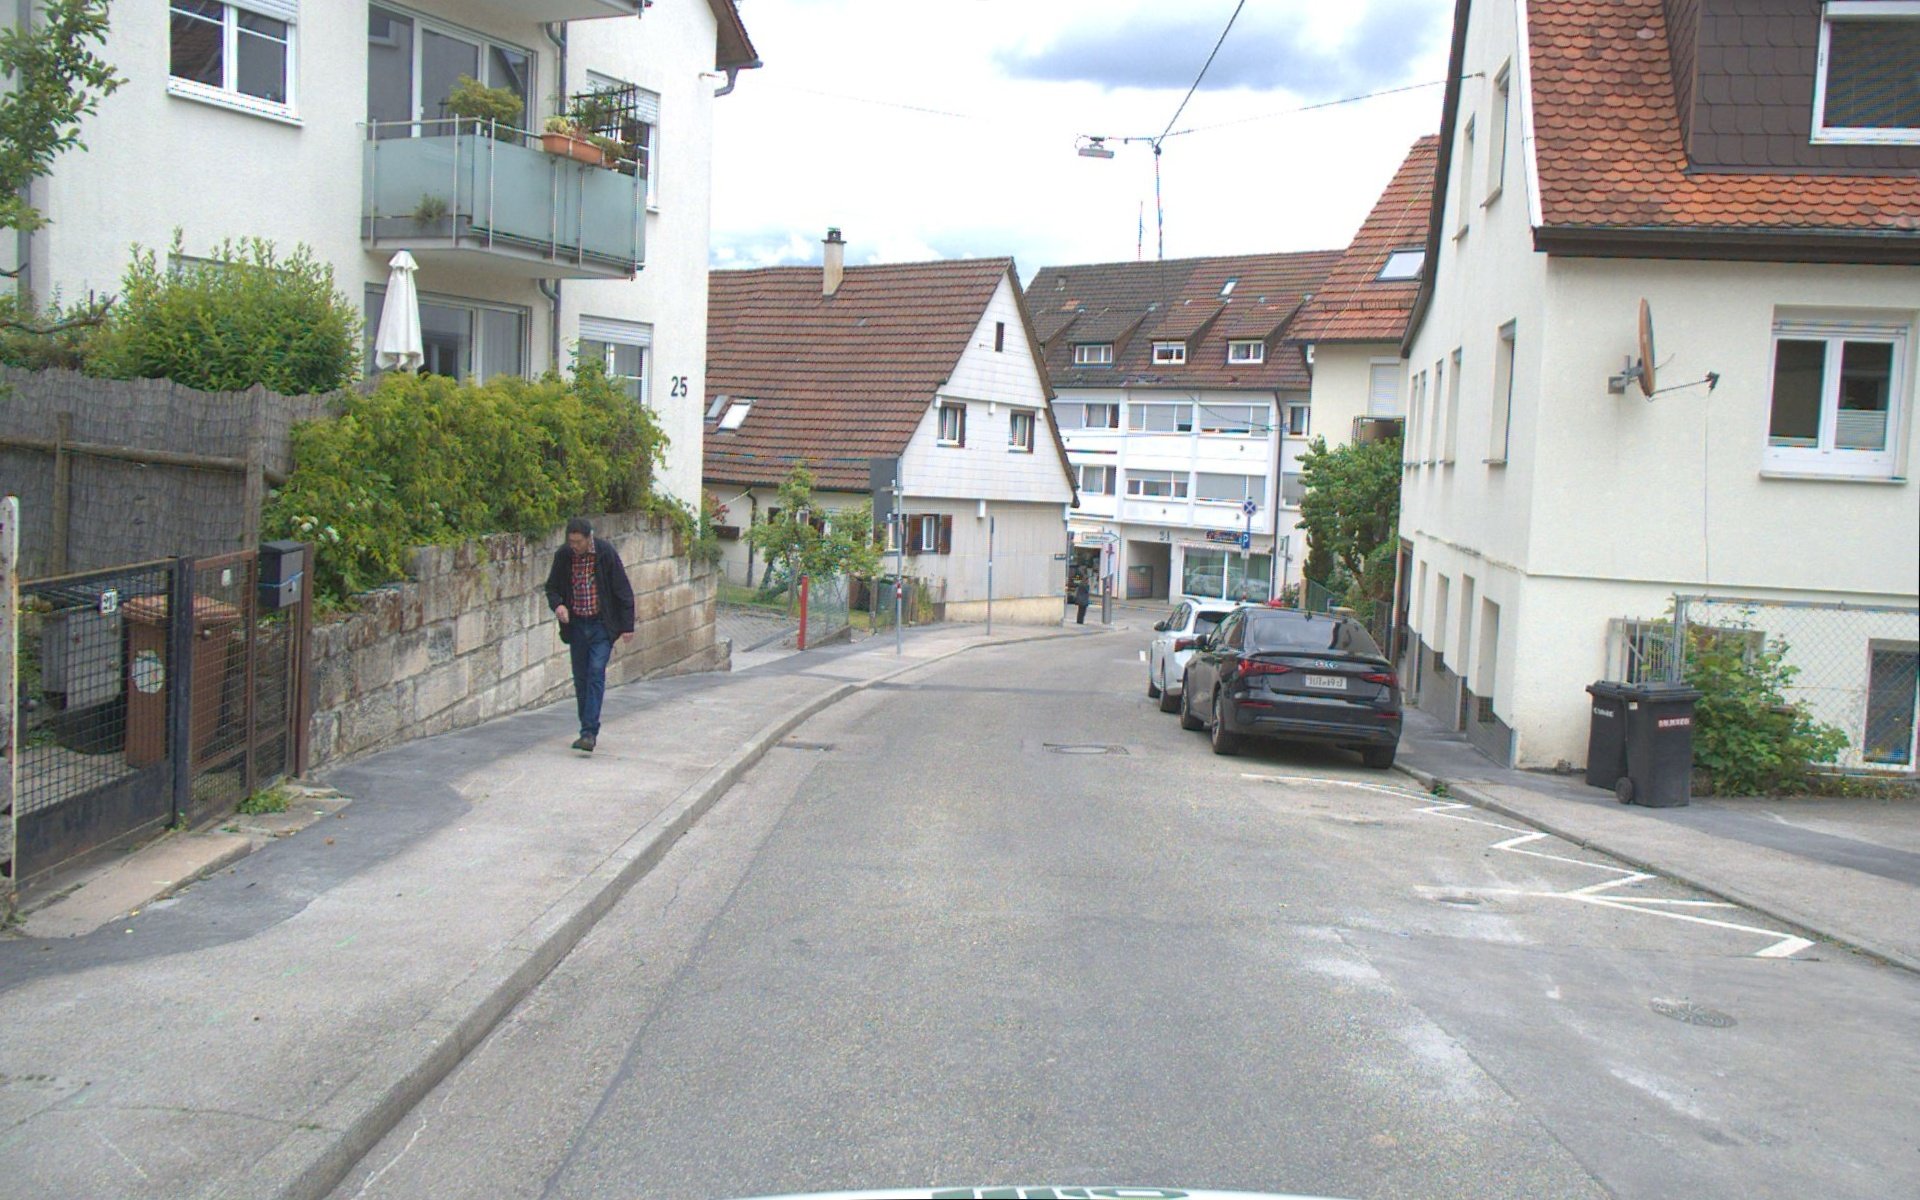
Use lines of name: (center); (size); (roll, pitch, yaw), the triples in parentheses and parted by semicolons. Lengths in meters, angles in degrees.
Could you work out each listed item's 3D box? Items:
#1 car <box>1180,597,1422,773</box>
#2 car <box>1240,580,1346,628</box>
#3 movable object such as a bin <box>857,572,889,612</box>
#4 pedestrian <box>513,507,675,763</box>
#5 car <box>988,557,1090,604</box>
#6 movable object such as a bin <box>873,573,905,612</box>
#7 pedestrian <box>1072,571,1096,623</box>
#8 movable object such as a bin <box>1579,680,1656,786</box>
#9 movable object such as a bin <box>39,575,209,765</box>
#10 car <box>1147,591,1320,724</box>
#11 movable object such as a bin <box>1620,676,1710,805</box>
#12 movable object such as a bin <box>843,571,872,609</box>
car: (3.370, 0.771, 17.054); (1.639, 1.432, 4.052); (5, 0, 1)
car: (12.793, 0.142, 63.611); (1.684, 1.583, 3.638); (1, 3, -43)
movable object such as a bin: (-2.206, -0.209, 41.838); (0.518, 0.932, 0.488); (8, 1, 35)
pedestrian: (-2.626, 0.239, 11.970); (0.823, 1.706, 0.976); (5, 0, -1)
car: (3.436, -0.857, 72.576); (1.933, 1.810, 4.299); (0, 3, -45)
movable object such as a bin: (-1.794, -0.186, 41.539); (0.518, 0.898, 0.488); (8, 1, 35)
pedestrian: (4.282, -0.108, 57.130); (0.634, 1.713, 0.603); (3, 2, -8)
movable object such as a bin: (5.834, 1.171, 14.679); (0.430, 0.881, 0.445); (1, 2, -41)
movable object such as a bin: (-4.685, 0.371, 9.274); (0.579, 0.947, 0.602); (7, 5, 29)
car: (3.577, 0.691, 22.331); (1.757, 1.470, 4.299); (5, 1, 3)
movable object such as a bin: (5.410, 1.071, 12.713); (0.454, 0.933, 0.542); (-1, 0, 1)
movable object such as a bin: (-2.614, -0.257, 42.193); (0.486, 0.892, 0.451); (8, 1, 35)
